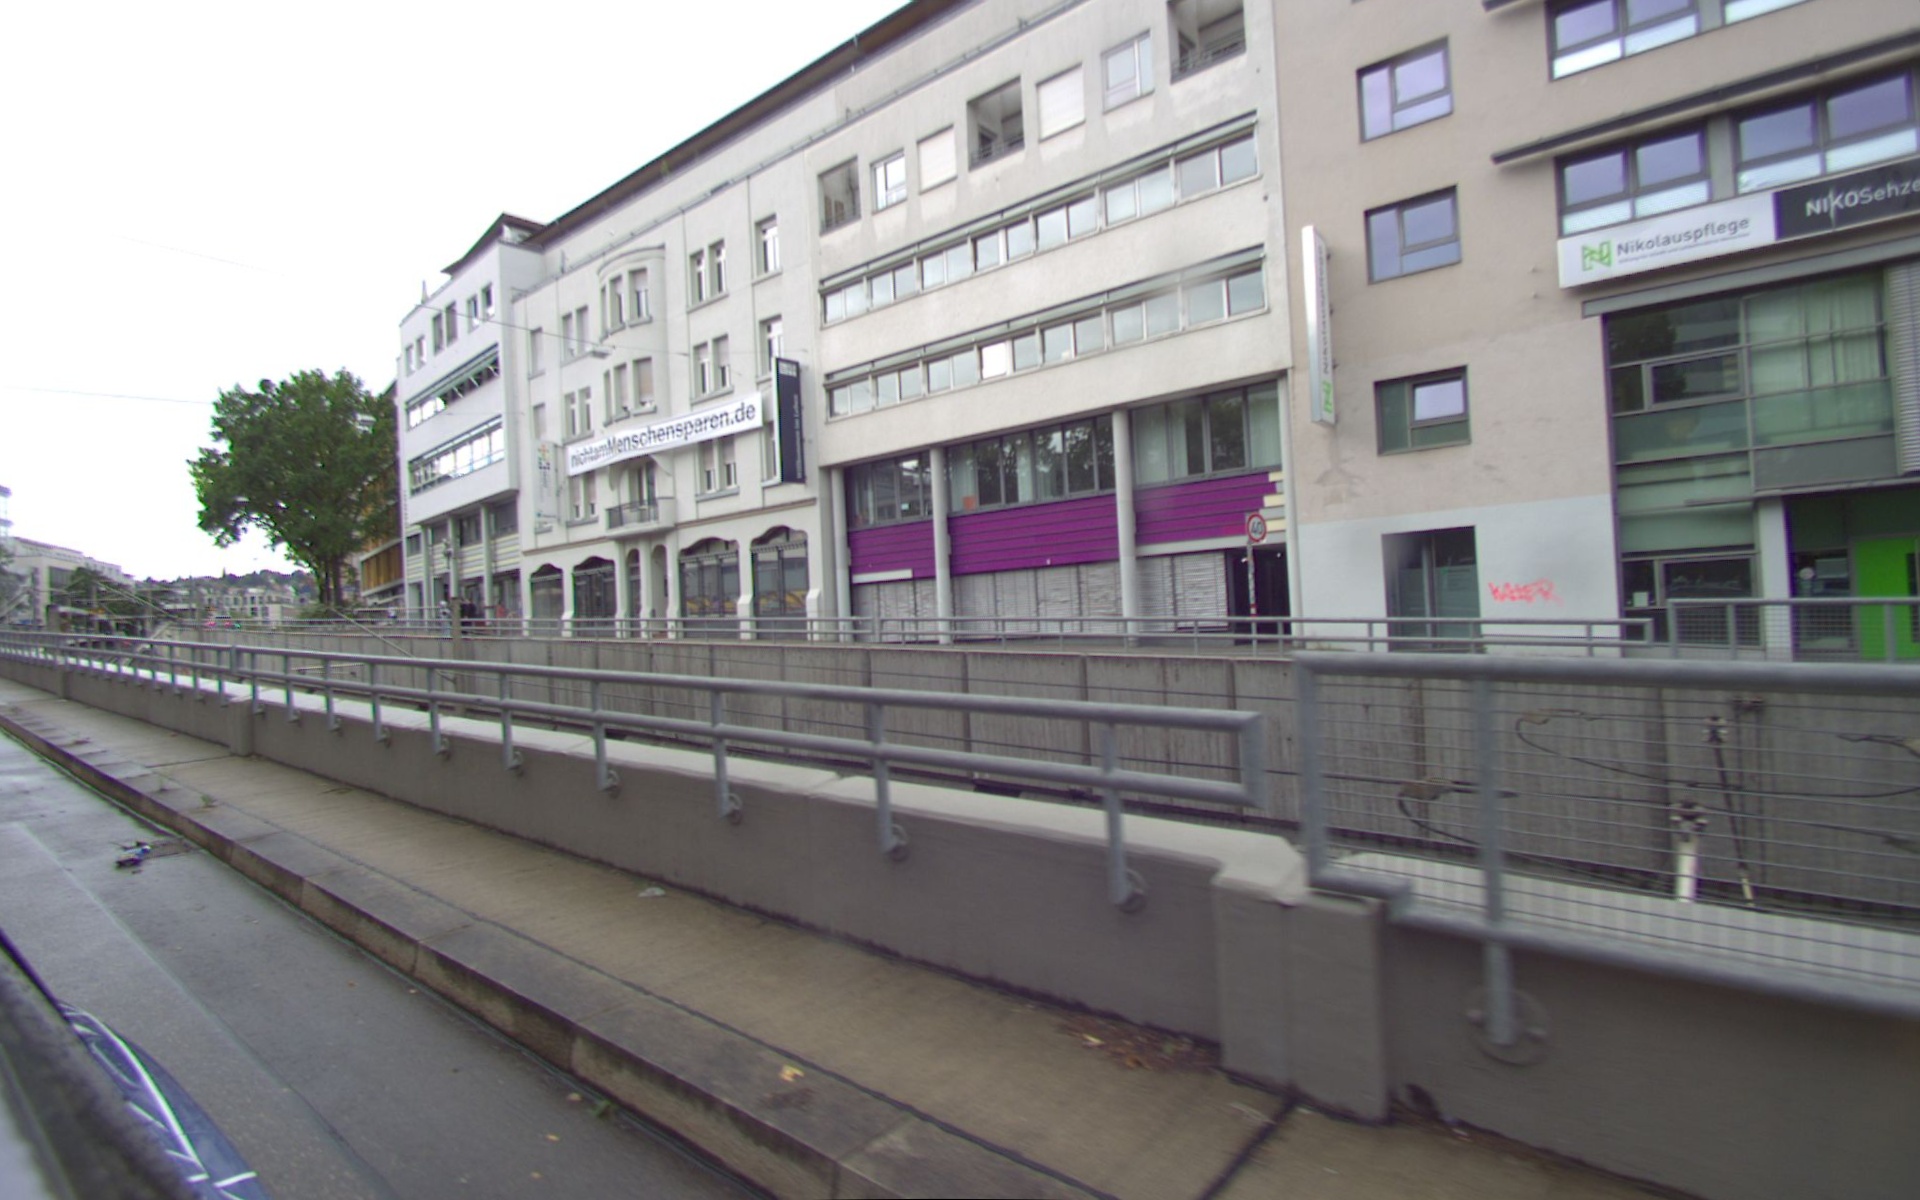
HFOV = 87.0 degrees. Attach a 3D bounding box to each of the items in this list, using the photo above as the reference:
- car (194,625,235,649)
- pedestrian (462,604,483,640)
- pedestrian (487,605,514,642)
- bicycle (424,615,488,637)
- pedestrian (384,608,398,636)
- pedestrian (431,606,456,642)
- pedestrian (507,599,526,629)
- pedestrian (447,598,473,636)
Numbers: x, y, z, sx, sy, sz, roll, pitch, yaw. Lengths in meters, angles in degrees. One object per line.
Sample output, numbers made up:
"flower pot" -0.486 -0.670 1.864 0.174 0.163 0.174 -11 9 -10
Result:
"car" -58.449 2.912 79.319 4.577 1.726 1.816 -2 -1 43
"pedestrian" -23.438 1.053 48.668 0.601 1.735 0.673 -2 0 1
"pedestrian" -21.110 1.086 46.525 0.937 1.628 0.667 -2 -1 26
"bicycle" -26.604 1.342 53.380 1.673 1.051 4.525 -2 1 -44
"pedestrian" -38.019 1.477 67.596 0.657 1.863 0.831 1 -3 -40
"pedestrian" -24.574 1.137 48.168 0.784 1.655 0.674 -2 0 -2
"pedestrian" -21.928 0.704 50.045 0.600 1.430 0.674 -1 -1 -44
"pedestrian" -24.489 0.835 49.543 0.937 1.798 0.667 -2 -1 26
